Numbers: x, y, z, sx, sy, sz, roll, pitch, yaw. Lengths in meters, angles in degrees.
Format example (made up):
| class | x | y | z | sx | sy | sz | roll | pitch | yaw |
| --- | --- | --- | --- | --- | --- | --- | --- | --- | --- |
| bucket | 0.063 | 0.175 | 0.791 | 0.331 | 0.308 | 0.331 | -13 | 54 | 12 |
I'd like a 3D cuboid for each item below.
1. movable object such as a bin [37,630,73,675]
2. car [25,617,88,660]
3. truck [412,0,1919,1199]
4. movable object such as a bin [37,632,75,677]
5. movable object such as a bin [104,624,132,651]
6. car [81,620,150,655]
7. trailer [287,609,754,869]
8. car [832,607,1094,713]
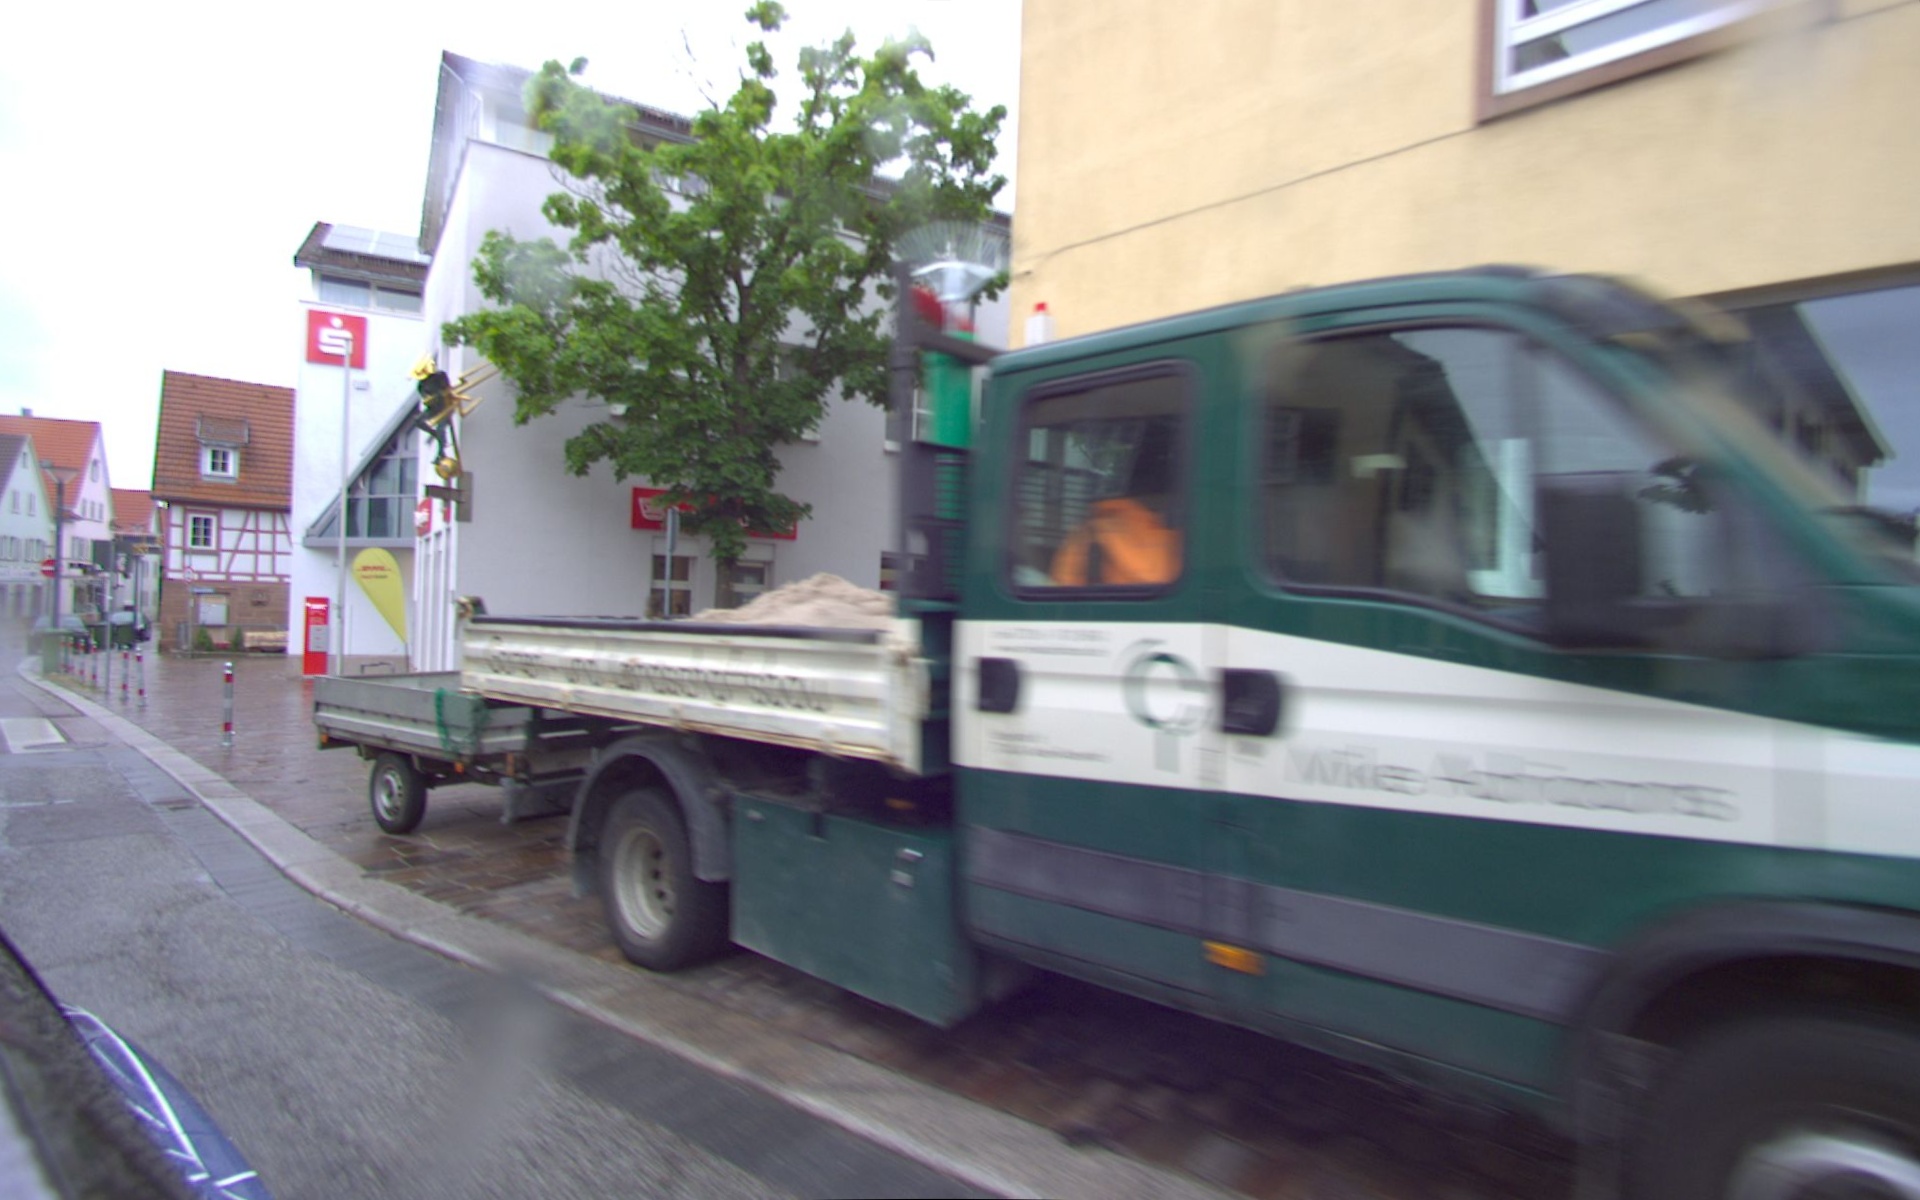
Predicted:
| class | x | y | z | sx | sy | sz | roll | pitch | yaw |
| --- | --- | --- | --- | --- | --- | --- | --- | --- | --- |
| movable object such as a bin | -23.410 | 1.362 | 26.185 | 0.650 | 1.123 | 0.553 | 3 | -3 | -41 |
| car | -33.875 | 1.391 | 37.936 | 1.669 | 1.497 | 4.004 | 2 | -1 | -43 |
| truck | 0.603 | 0.039 | 3.866 | 6.594 | 2.816 | 2.448 | -2 | -4 | 40 |
| movable object such as a bin | -22.773 | 1.371 | 25.492 | 0.650 | 1.104 | 0.614 | 3 | -3 | -43 |
| movable object such as a bin | -35.173 | 1.567 | 42.280 | 0.822 | 1.120 | 0.921 | 3 | -2 | -39 |
| car | -40.295 | 1.753 | 48.366 | 1.966 | 1.541 | 4.012 | -1 | 0 | -32 |
| trailer | -3.107 | 0.798 | 6.980 | 3.158 | 1.357 | 1.710 | -2 | -4 | 40 |
| car | 0.091 | 0.995 | 16.977 | 3.933 | 1.576 | 1.971 | 3 | -3 | -33 |
